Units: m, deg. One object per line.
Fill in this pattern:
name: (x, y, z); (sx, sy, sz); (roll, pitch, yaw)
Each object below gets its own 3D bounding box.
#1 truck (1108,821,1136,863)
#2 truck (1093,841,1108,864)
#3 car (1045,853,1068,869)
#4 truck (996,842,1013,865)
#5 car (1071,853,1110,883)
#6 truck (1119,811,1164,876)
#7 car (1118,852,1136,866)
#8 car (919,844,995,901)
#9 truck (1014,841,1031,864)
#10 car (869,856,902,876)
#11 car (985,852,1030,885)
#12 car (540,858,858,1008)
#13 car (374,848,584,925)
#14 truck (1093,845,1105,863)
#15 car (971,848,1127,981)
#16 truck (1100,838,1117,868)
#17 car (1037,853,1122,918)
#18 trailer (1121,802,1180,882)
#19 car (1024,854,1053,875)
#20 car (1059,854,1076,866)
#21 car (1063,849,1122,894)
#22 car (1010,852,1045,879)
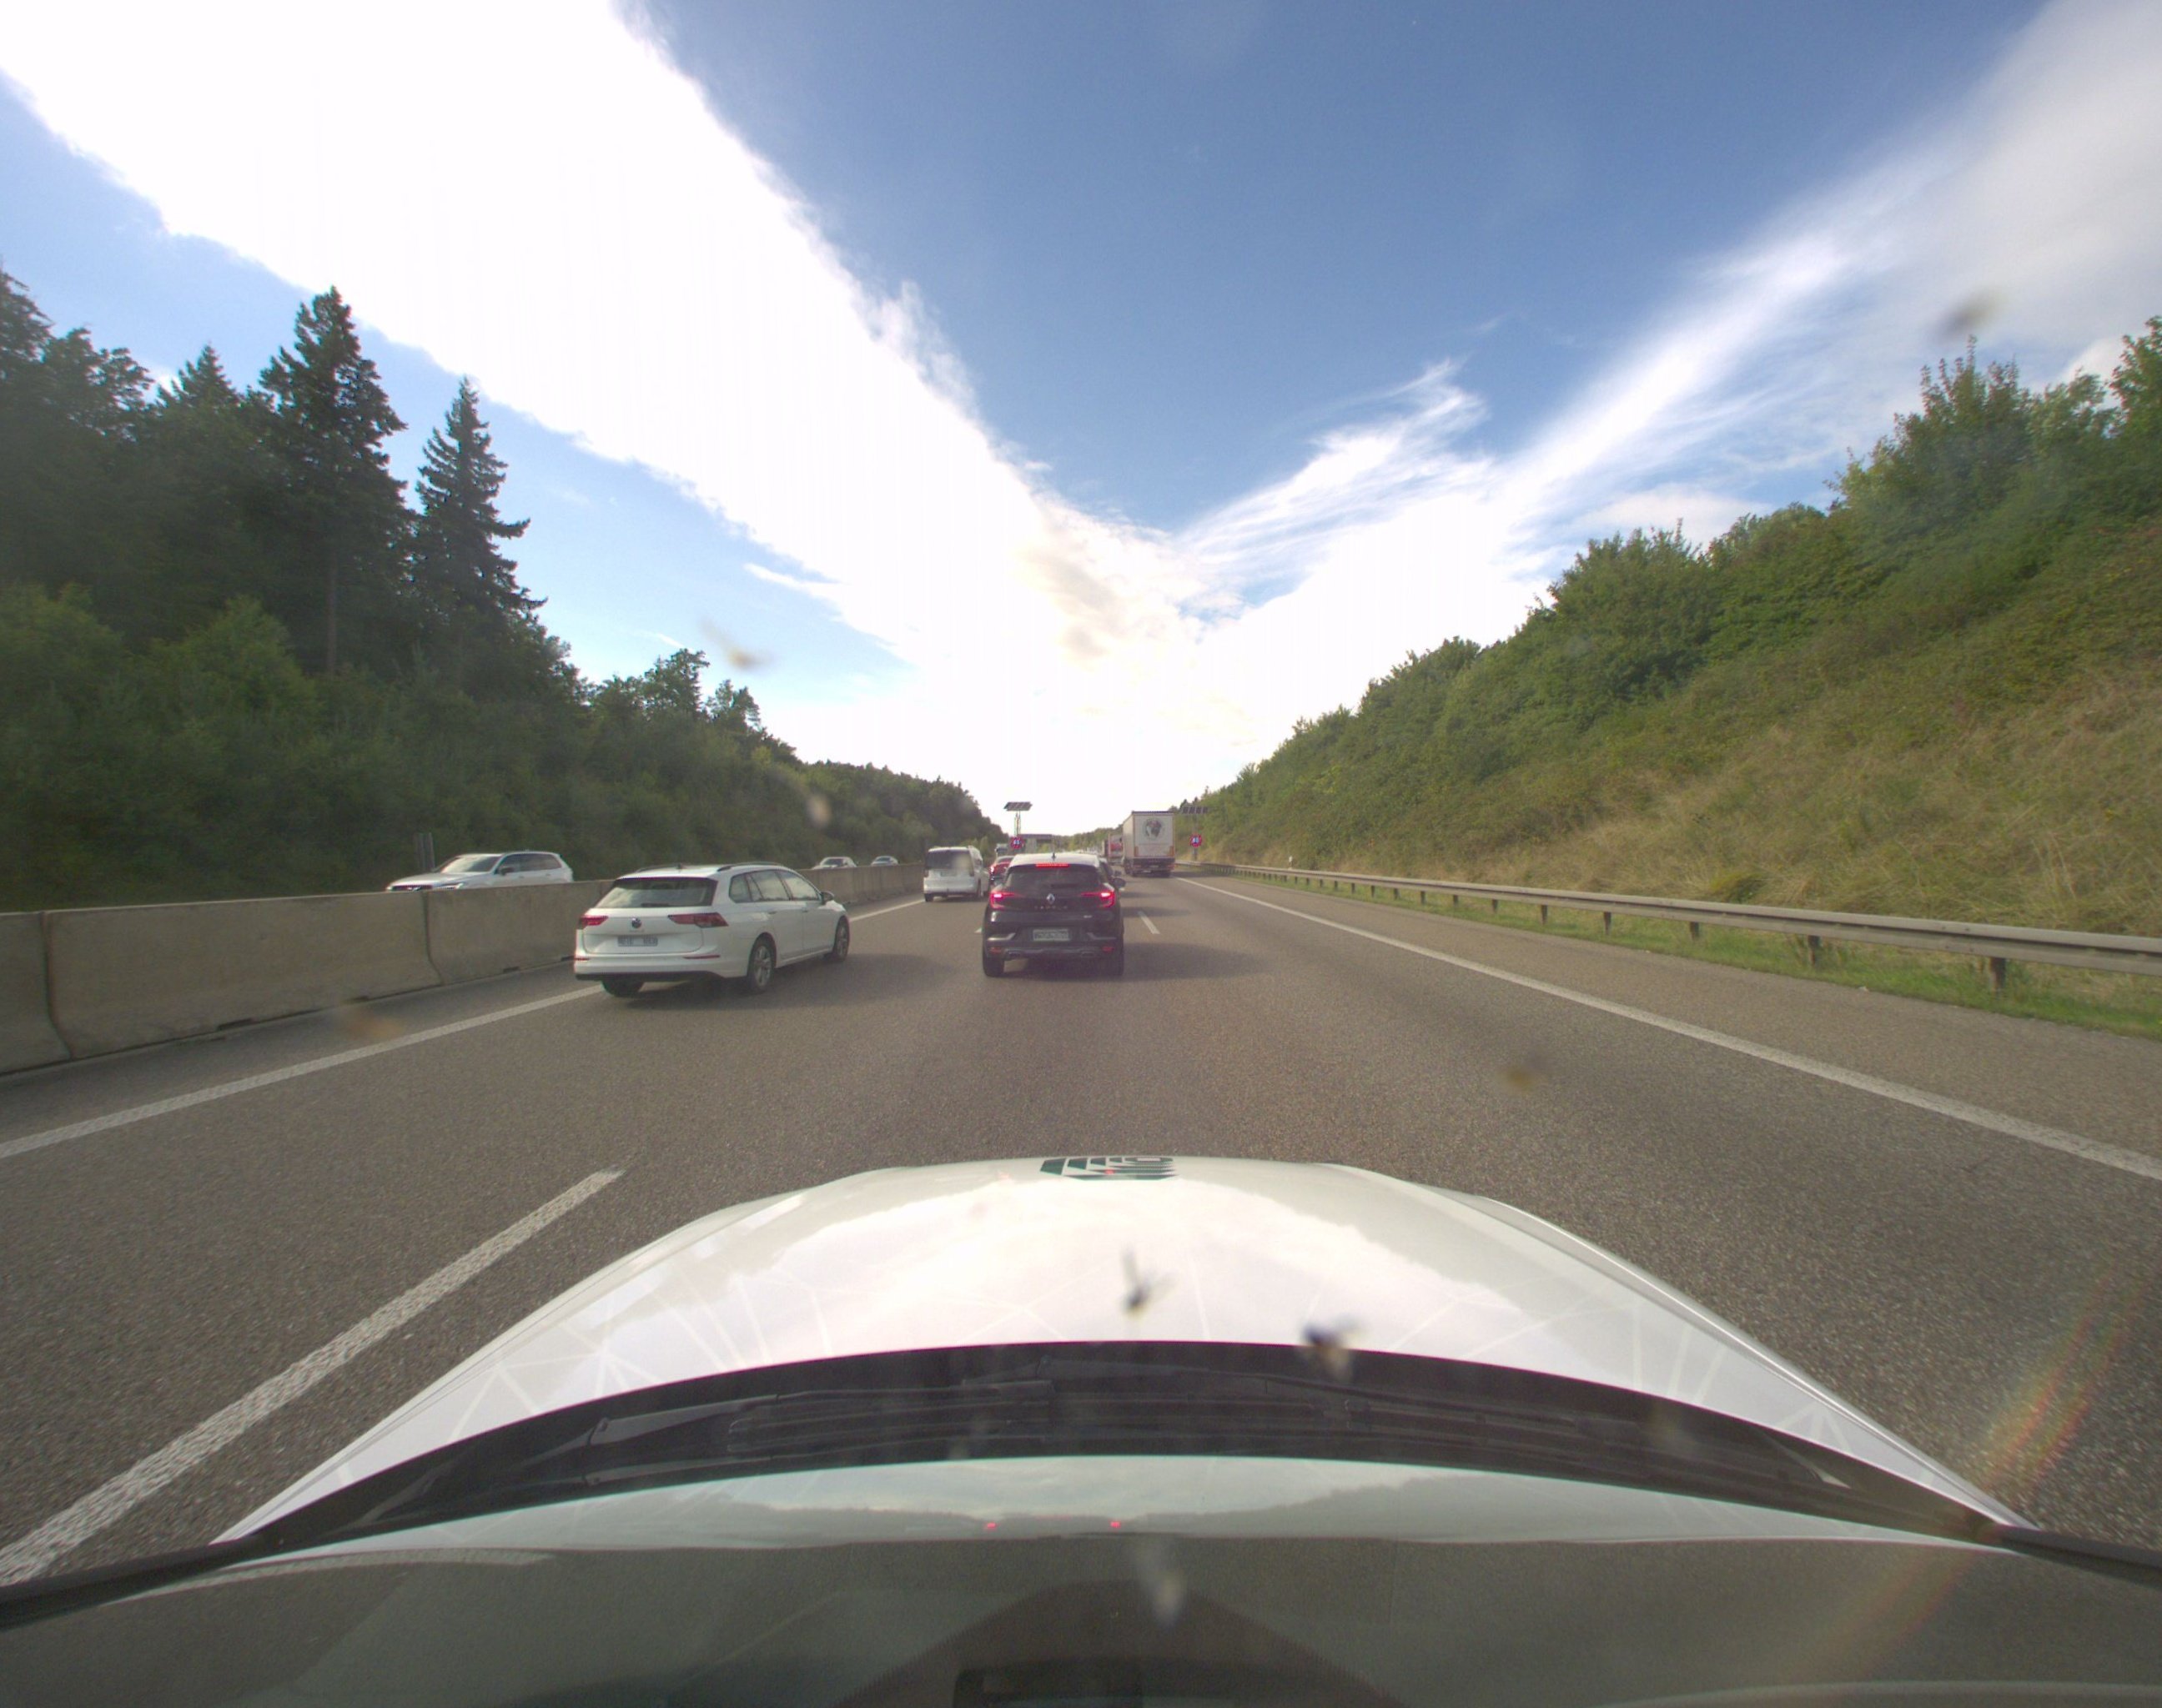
truck: (5.247, -1.399, 105.396); (3.352, 5.044, 12.743); (0, -1, 2)
truck: (4.763, -0.225, 199.889); (3.153, 5.505, 12.748); (-1, -1, 4)
car: (-2.462, 0.713, 82.894); (1.986, 1.613, 4.002); (-1, 0, 2)
truck: (-17.620, -0.166, 188.027); (2.880, 5.093, 10.082); (-1, 0, 1)
car: (0.534, 0.728, 43.726); (1.986, 1.514, 4.001); (0, -1, 2)
truck: (4.516, -0.759, 61.441); (2.986, 4.667, 5.940); (-1, 0, 1)
car: (5.087, 0.570, 89.916); (1.798, 1.533, 3.925); (0, -1, 0)
car: (-4.200, 0.616, 28.285); (1.905, 1.789, 4.417); (0, -1, 0)
truck: (-13.190, -0.337, 184.045); (2.880, 4.934, 10.082); (-1, 0, 1)
car: (-18.325, 1.122, 76.529); (1.845, 1.810, 4.925); (-1, 0, 1)
car: (-3.775, 0.739, 42.615); (1.848, 1.641, 3.927); (0, -1, 2)
car: (-4.383, 0.800, 10.222); (1.797, 1.461, 4.311); (-1, 0, 2)
car: (-15.683, 0.764, 21.652); (1.845, 1.810, 4.925); (-1, 0, 1)
truck: (5.230, 0.036, 234.345); (3.154, 5.159, 12.743); (0, -1, 2)
car: (-0.274, 0.729, 11.708); (1.797, 1.552, 4.004); (-1, 0, 4)
truck: (5.284, -0.071, 157.331); (3.154, 5.505, 12.743); (0, -1, 2)
car: (0.032, 0.765, 21.250); (1.986, 1.514, 4.001); (0, -1, 2)
trailer: (4.388, -0.725, 54.171); (2.991, 4.661, 13.292); (-1, 0, 1)
car: (-3.350, 0.829, 65.253); (1.986, 1.613, 4.001); (0, -1, 2)
car: (-1.779, 0.774, 106.254); (1.986, 1.613, 4.002); (-1, 0, 2)
car: (0.463, 0.610, 29.880); (1.986, 1.514, 4.001); (0, -1, 2)
car: (-3.528, 0.738, 54.406); (1.986, 1.722, 4.001); (0, -1, 2)
